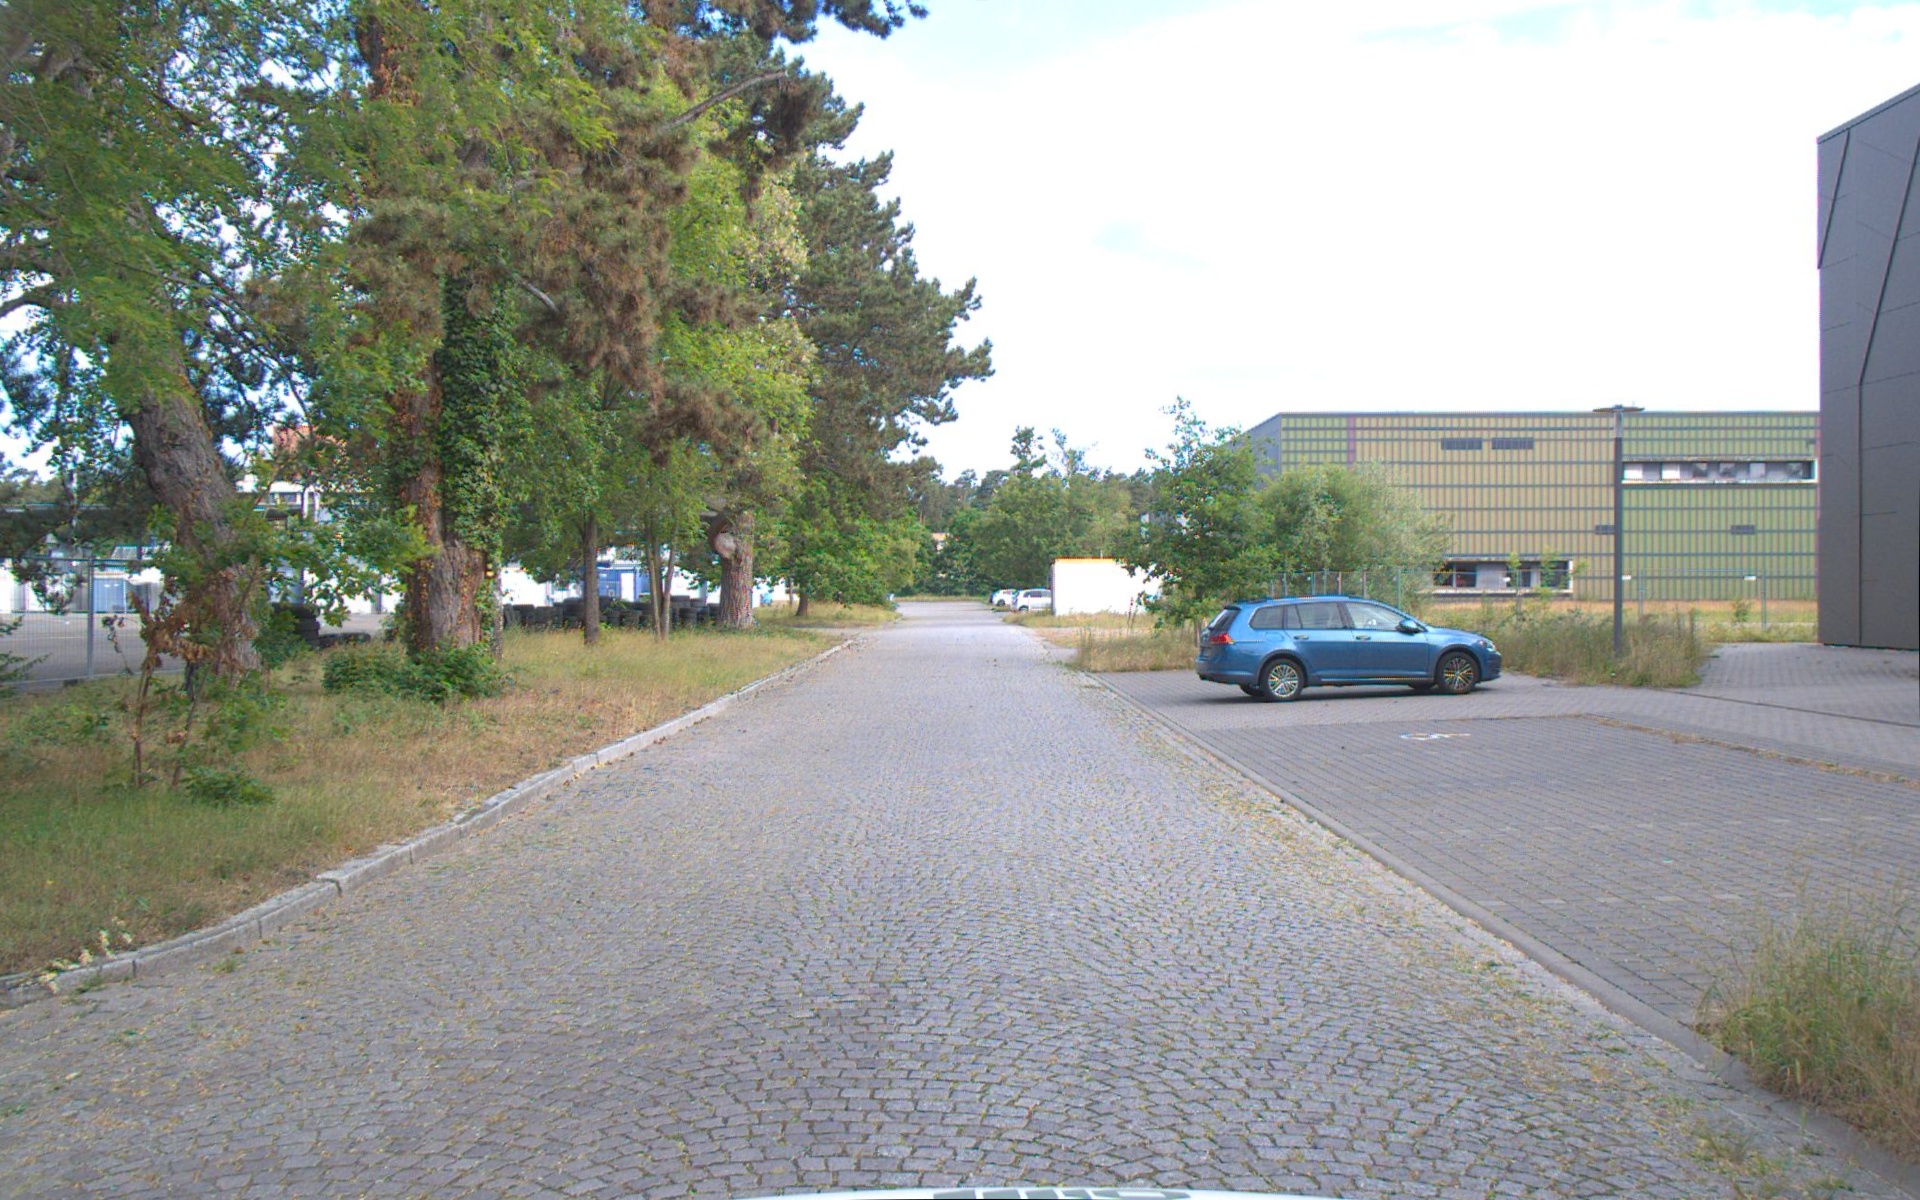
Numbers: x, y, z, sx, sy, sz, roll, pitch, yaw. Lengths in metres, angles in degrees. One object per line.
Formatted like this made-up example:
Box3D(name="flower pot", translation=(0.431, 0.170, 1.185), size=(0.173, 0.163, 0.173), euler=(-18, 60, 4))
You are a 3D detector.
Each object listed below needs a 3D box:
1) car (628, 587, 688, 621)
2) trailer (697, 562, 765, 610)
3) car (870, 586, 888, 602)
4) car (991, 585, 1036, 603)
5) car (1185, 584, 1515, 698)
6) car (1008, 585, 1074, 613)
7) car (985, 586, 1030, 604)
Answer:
Box3D(name="car", translation=(-13.333, 0.153, 73.233), size=(1.729, 1.478, 3.490), euler=(0, 0, 5))
Box3D(name="trailer", translation=(-15.239, -0.948, 110.660), size=(3.093, 3.121, 8.786), euler=(0, 0, 1))
Box3D(name="car", translation=(-7.969, -0.598, 163.277), size=(1.700, 1.495, 4.043), euler=(0, 0, -3))
Box3D(name="car", translation=(4.656, -0.508, 144.360), size=(3.942, 1.528, 1.548), euler=(0, 0, 0))
Box3D(name="car", translation=(5.741, 0.571, 24.685), size=(4.432, 1.468, 1.822), euler=(-2, 1, -4))
Box3D(name="car", translation=(4.778, -0.064, 98.211), size=(3.773, 1.683, 1.685), euler=(0, 0, -3))
Box3D(name="car", translation=(4.299, -0.426, 149.911), size=(3.907, 1.629, 1.728), euler=(0, 0, -3))
